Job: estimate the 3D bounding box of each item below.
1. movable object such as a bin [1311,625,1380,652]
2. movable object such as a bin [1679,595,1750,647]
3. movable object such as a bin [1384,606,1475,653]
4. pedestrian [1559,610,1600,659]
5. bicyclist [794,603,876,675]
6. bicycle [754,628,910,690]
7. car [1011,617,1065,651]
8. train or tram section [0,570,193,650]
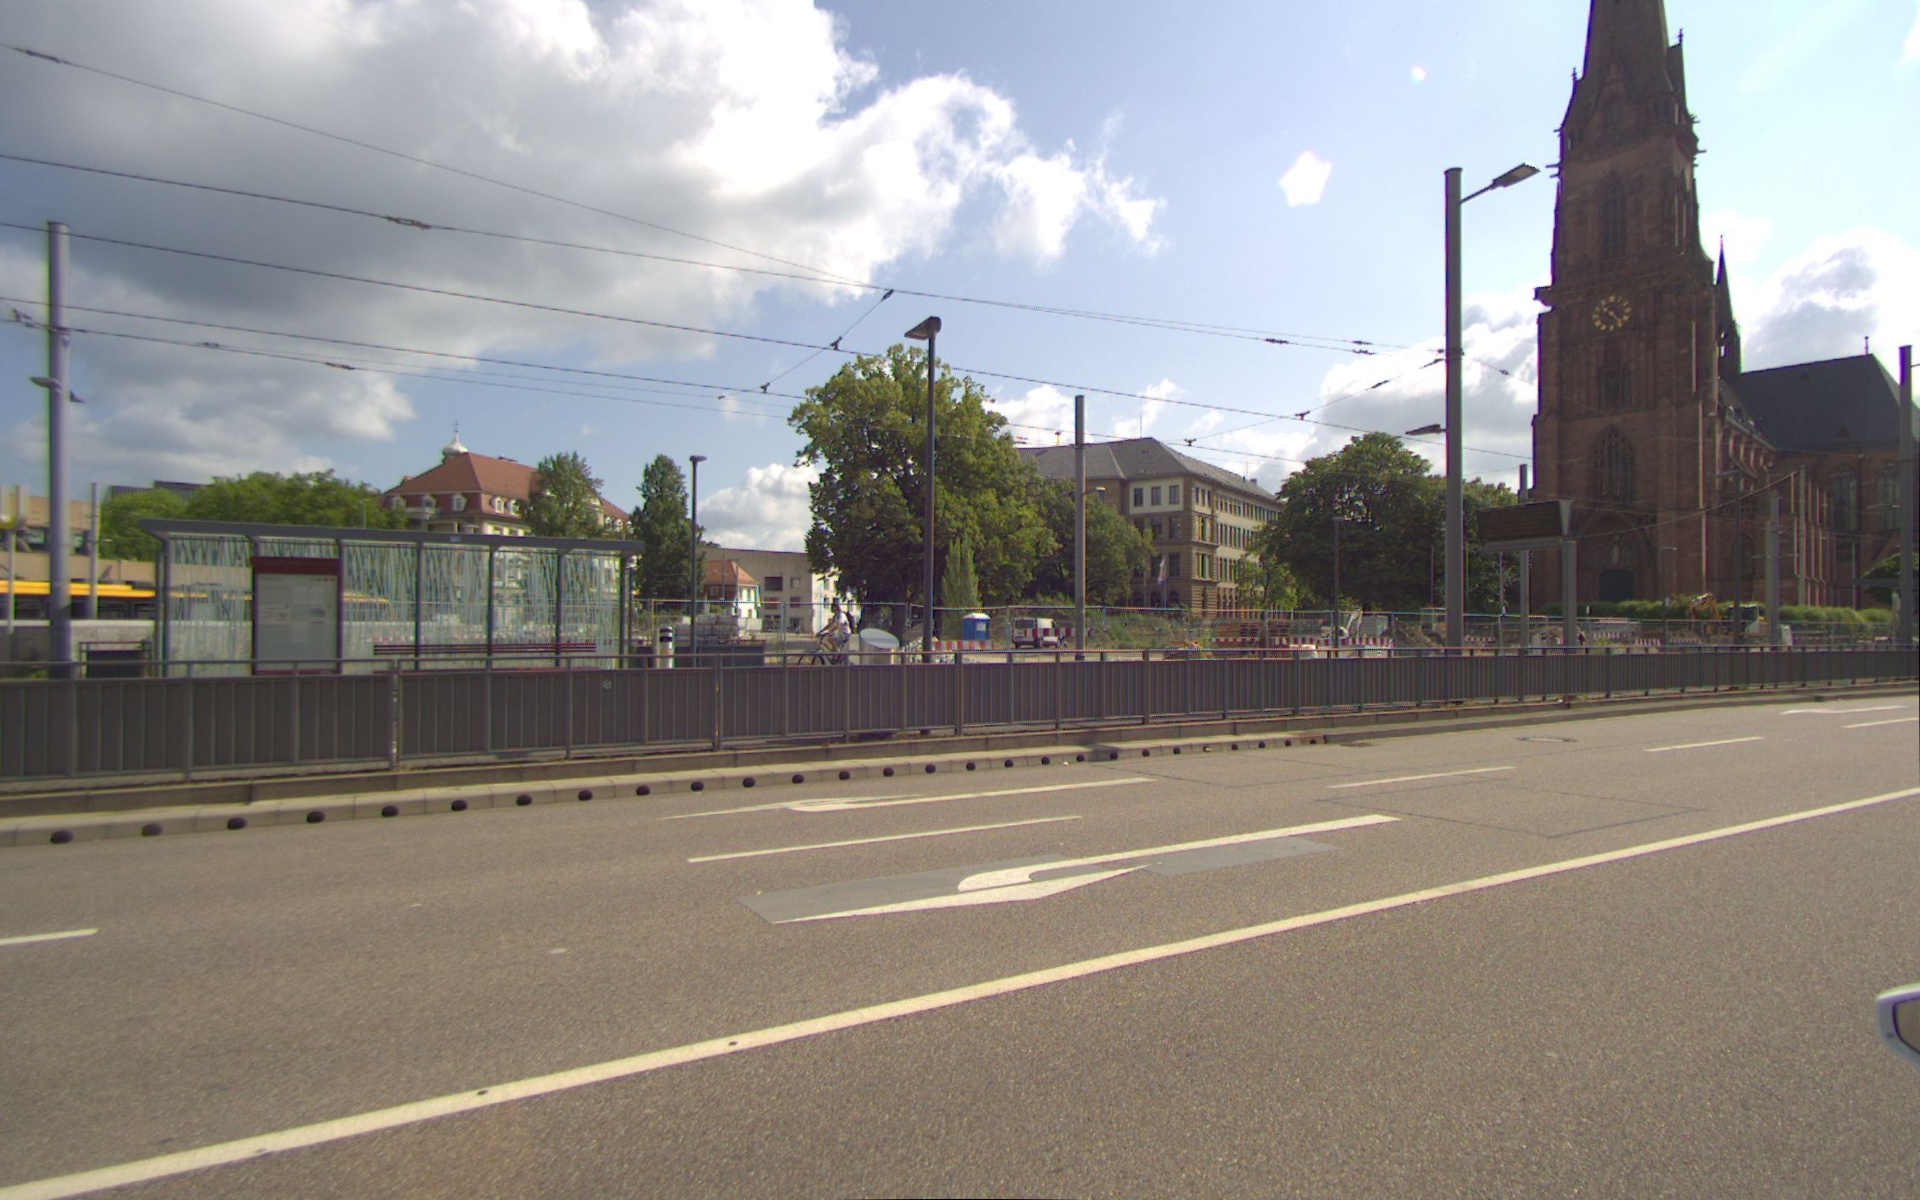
[{"bbox_3d":[23.572,2.330,61.340,5.118,1.522,1.975,2,-2,-43],"label":"movable object such as a bin"},{"bbox_3d":[48.006,1.289,63.912,3.947,3.147,1.987,-2,0,-26],"label":"movable object such as a bin"},{"bbox_3d":[30.658,1.894,65.769,1.981,2.950,5.101,1,-2,-37],"label":"movable object such as a bin"},{"bbox_3d":[26.233,1.466,42.532,1.037,2.040,1.062,1,-2,-27],"label":"pedestrian"},{"bbox_3d":[-3.079,0.946,24.698,1.666,1.706,1.171,1,-2,-32],"label":"bicyclist"},{"bbox_3d":[-3.109,1.411,24.679,3.653,1.445,1.187,1,-2,-32],"label":"bicycle"},{"bbox_3d":[5.311,2.249,67.569,1.905,2.166,4.638,-1,0,28],"label":"car"},{"bbox_3d":[-43.324,0.466,48.203,3.257,3.527,10.613,-2,0,14],"label":"train or tram section"}]
